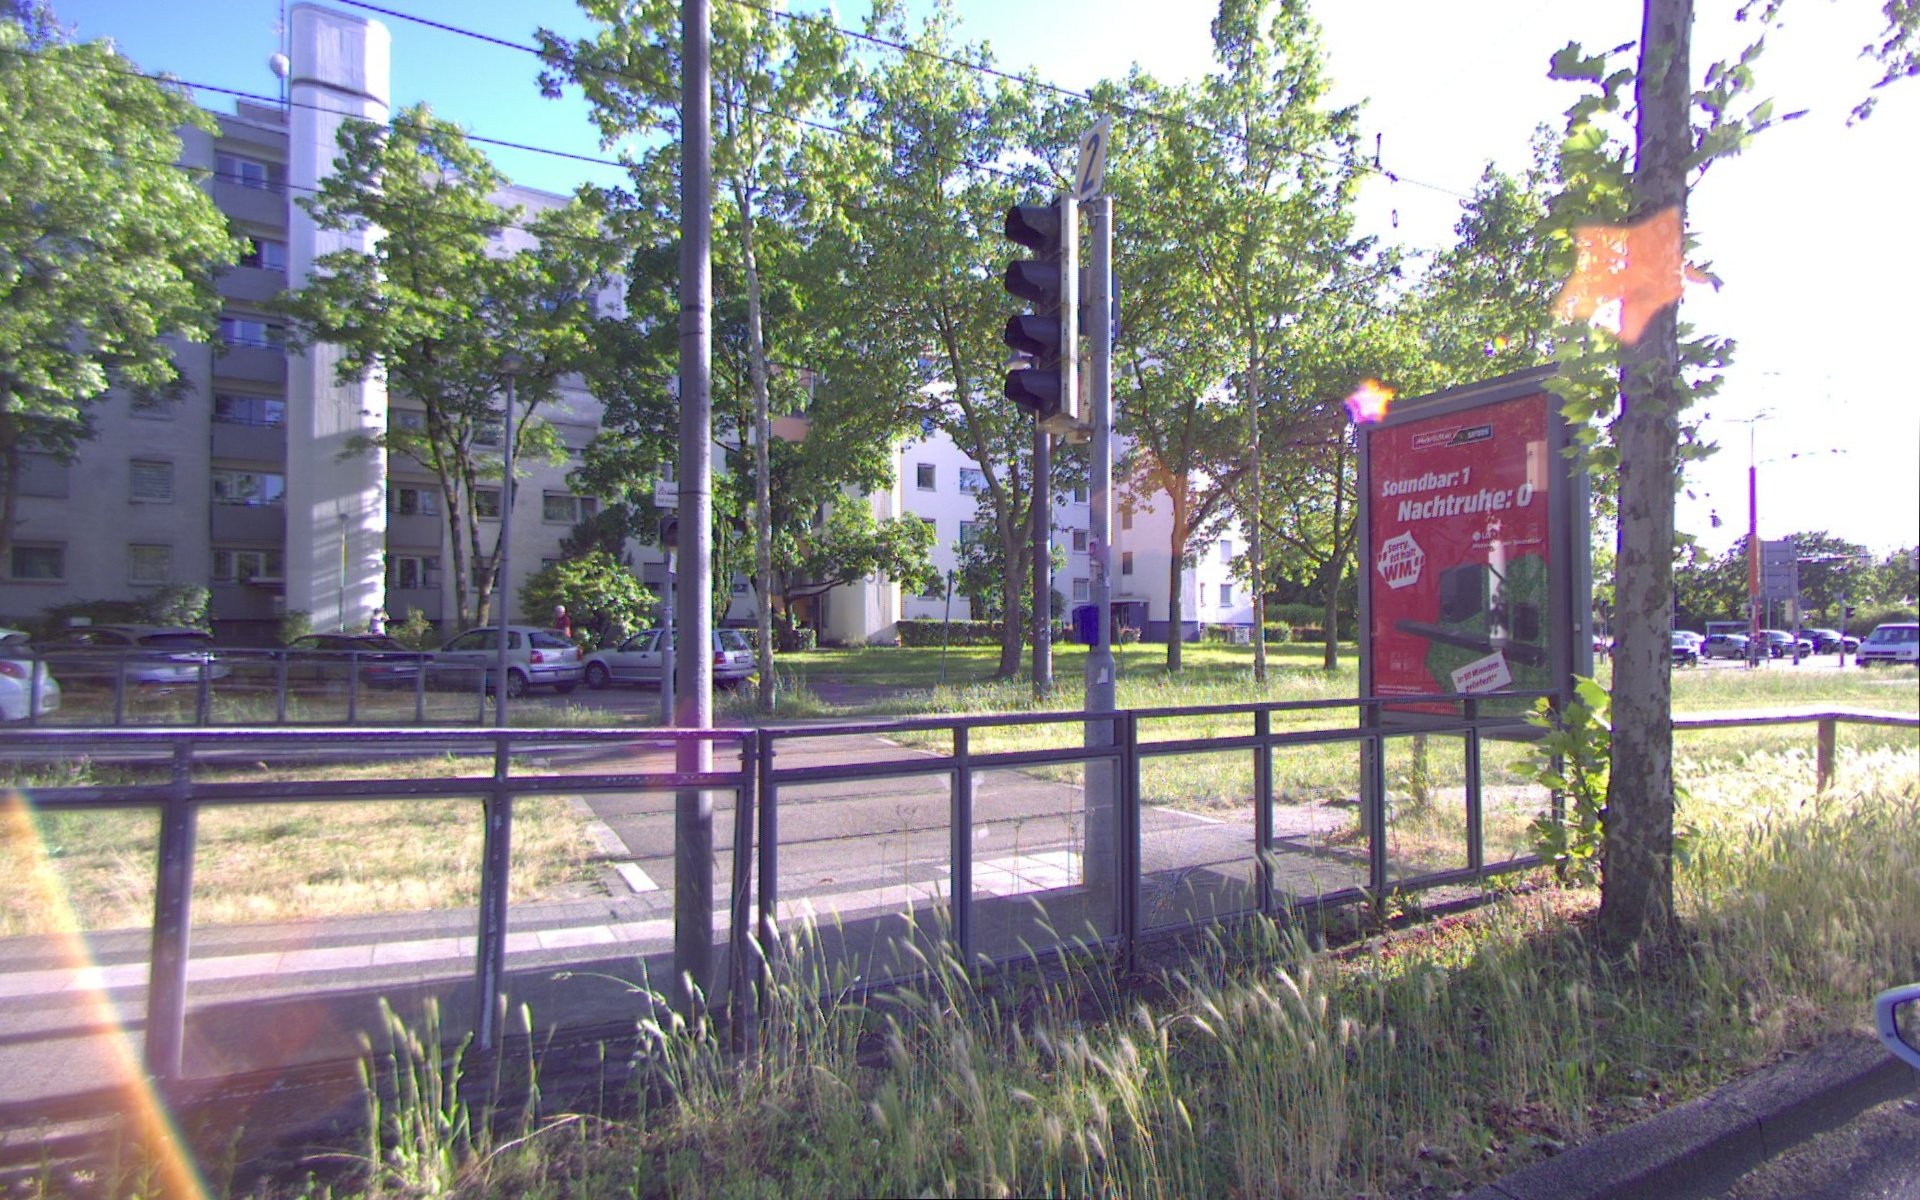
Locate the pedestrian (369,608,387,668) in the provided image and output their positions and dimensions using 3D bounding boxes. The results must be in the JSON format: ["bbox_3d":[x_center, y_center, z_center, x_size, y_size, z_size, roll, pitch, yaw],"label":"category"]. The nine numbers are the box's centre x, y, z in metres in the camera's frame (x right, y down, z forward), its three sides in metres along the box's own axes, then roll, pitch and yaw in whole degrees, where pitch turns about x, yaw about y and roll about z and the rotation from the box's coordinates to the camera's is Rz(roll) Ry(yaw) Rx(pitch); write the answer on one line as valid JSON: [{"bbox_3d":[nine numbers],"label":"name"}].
[{"bbox_3d":[-17.839,1.160,30.790,0.445,1.815,0.315,1,-1,-35],"label":"pedestrian"}]

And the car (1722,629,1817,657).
[{"bbox_3d":[50.338,2.674,62.588,1.866,1.632,4.493,-2,-2,-10],"label":"car"}]

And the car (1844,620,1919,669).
[{"bbox_3d":[36.950,1.724,39.256,4.502,1.804,1.819,2,-1,-23],"label":"car"}]

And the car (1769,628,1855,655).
[{"bbox_3d":[56.131,2.705,66.257,1.866,1.642,3.994,-2,-2,-10],"label":"car"}]

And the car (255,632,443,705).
[{"bbox_3d":[-12.165,1.312,20.007,3.318,1.270,1.465,1,-1,21],"label":"car"}]

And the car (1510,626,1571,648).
[{"bbox_3d":[47.431,2.980,82.181,1.866,1.632,4.492,-2,0,-10],"label":"car"}]

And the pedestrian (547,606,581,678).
[{"bbox_3d":[-10.142,1.072,25.707,0.709,1.816,0.473,1,-1,-30],"label":"pedestrian"}]

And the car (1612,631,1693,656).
[{"bbox_3d":[47.263,2.962,68.659,1.866,1.632,4.493,-2,-2,-10],"label":"car"}]

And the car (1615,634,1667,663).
[{"bbox_3d":[39.923,2.801,58.975,1.864,1.564,4.496,1,-1,26],"label":"car"}]

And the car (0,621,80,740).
[{"bbox_3d":[-13.779,1.000,12.707,3.674,1.469,1.624,2,-1,-30],"label":"car"}]

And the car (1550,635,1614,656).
[{"bbox_3d":[46.476,3.392,75.147,1.783,1.455,4.042,-2,-2,-10],"label":"car"}]

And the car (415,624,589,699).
[{"bbox_3d":[-9.910,1.280,21.763,3.222,1.450,1.571,1,0,19],"label":"car"}]

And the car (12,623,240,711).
[{"bbox_3d":[-15.193,1.171,18.346,3.316,1.445,1.541,1,-1,15],"label":"car"}]

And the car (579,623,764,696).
[{"bbox_3d":[-6.653,1.316,23.213,3.843,1.495,1.632,1,-1,19],"label":"car"}]

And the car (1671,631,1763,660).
[{"bbox_3d":[46.820,2.814,62.248,1.866,1.632,4.493,-2,-2,-10],"label":"car"}]

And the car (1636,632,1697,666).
[{"bbox_3d":[36.508,2.494,52.003,1.864,1.564,4.496,1,-1,26],"label":"car"}]
